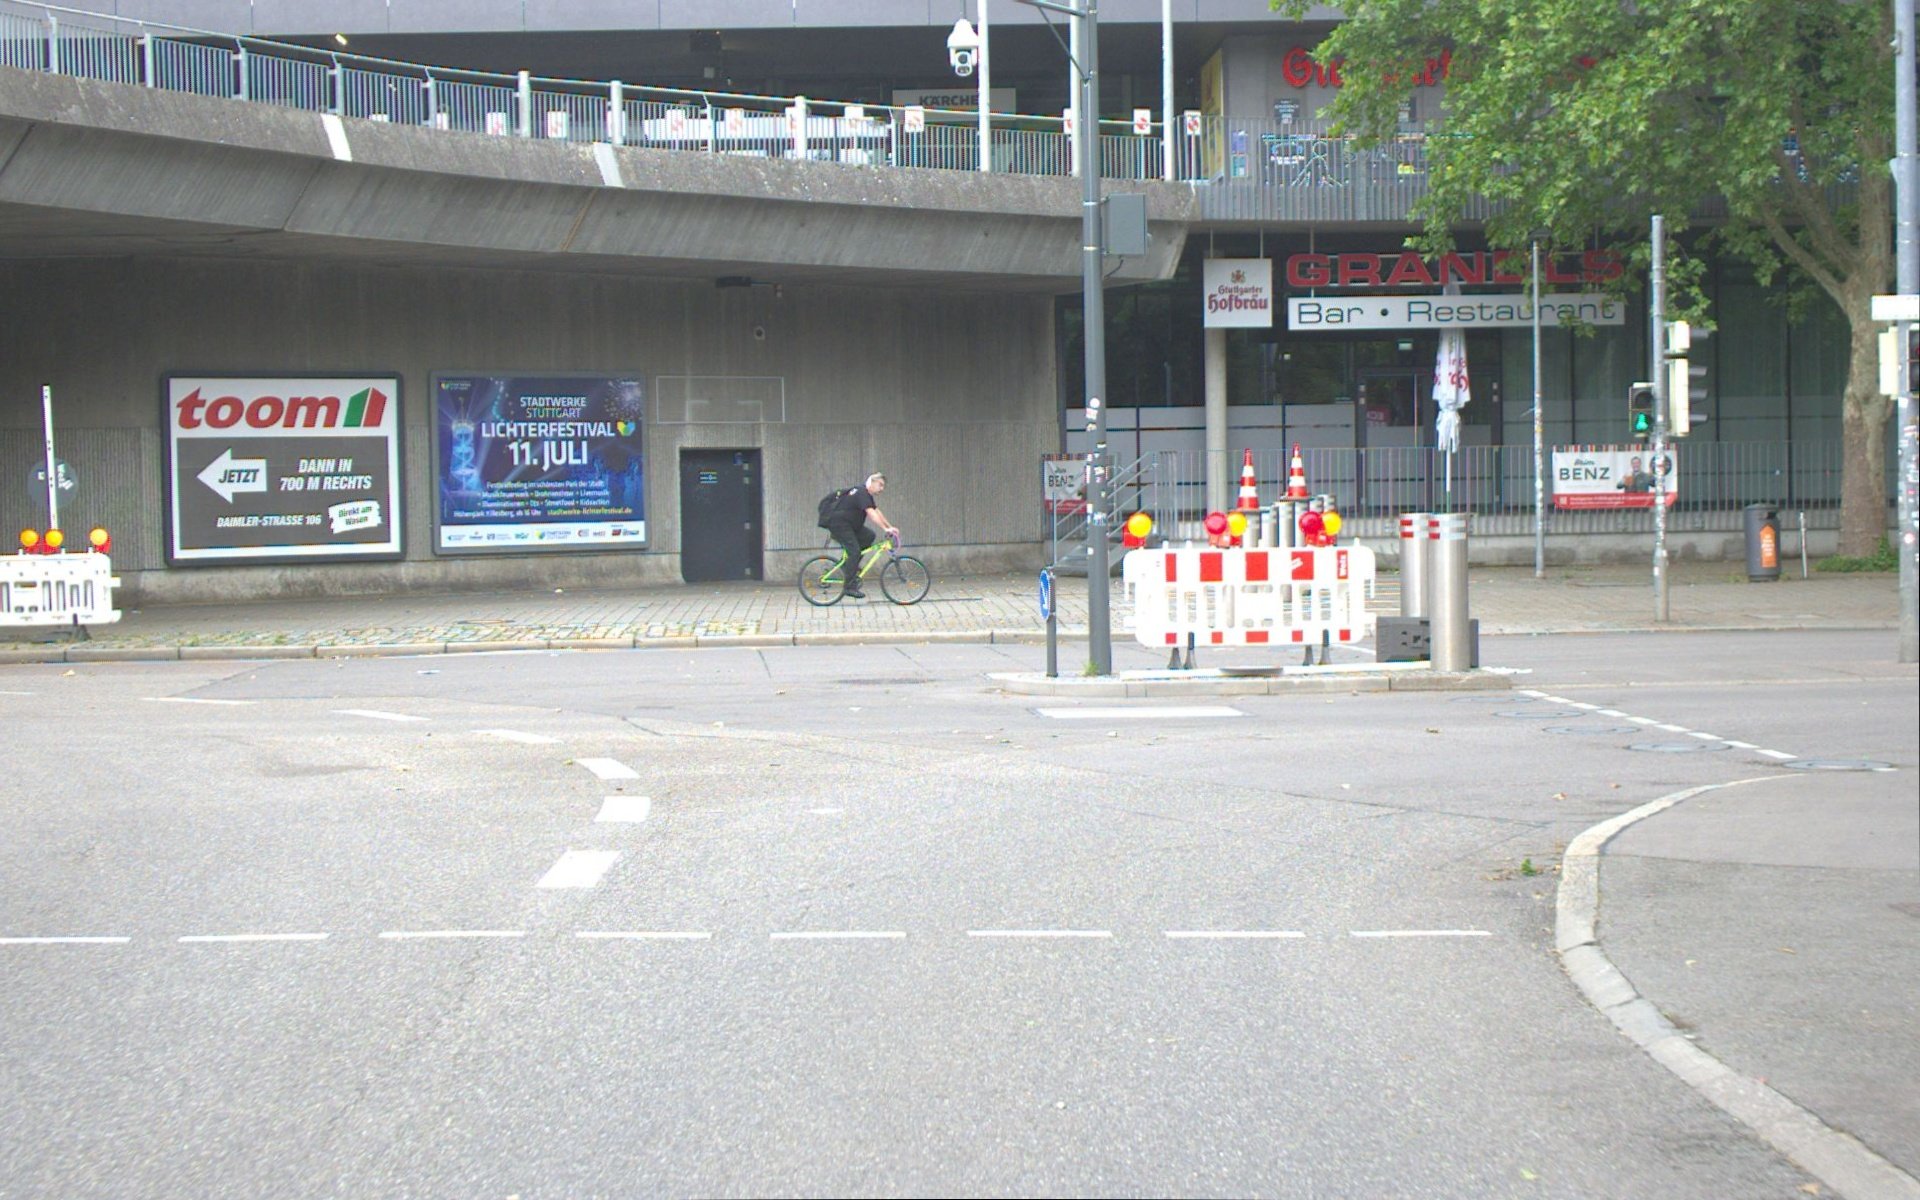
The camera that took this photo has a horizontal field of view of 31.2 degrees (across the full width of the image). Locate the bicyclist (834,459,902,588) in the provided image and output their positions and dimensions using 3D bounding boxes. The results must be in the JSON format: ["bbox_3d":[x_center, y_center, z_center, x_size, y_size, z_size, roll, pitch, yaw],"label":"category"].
[{"bbox_3d":[-1.223,-1.011,45.526,0.851,1.692,0.767,1,1,-4],"label":"bicyclist"}]

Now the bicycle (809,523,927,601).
[{"bbox_3d":[-1.225,-0.506,45.529,1.532,1.009,0.517,1,1,-4],"label":"bicycle"}]
